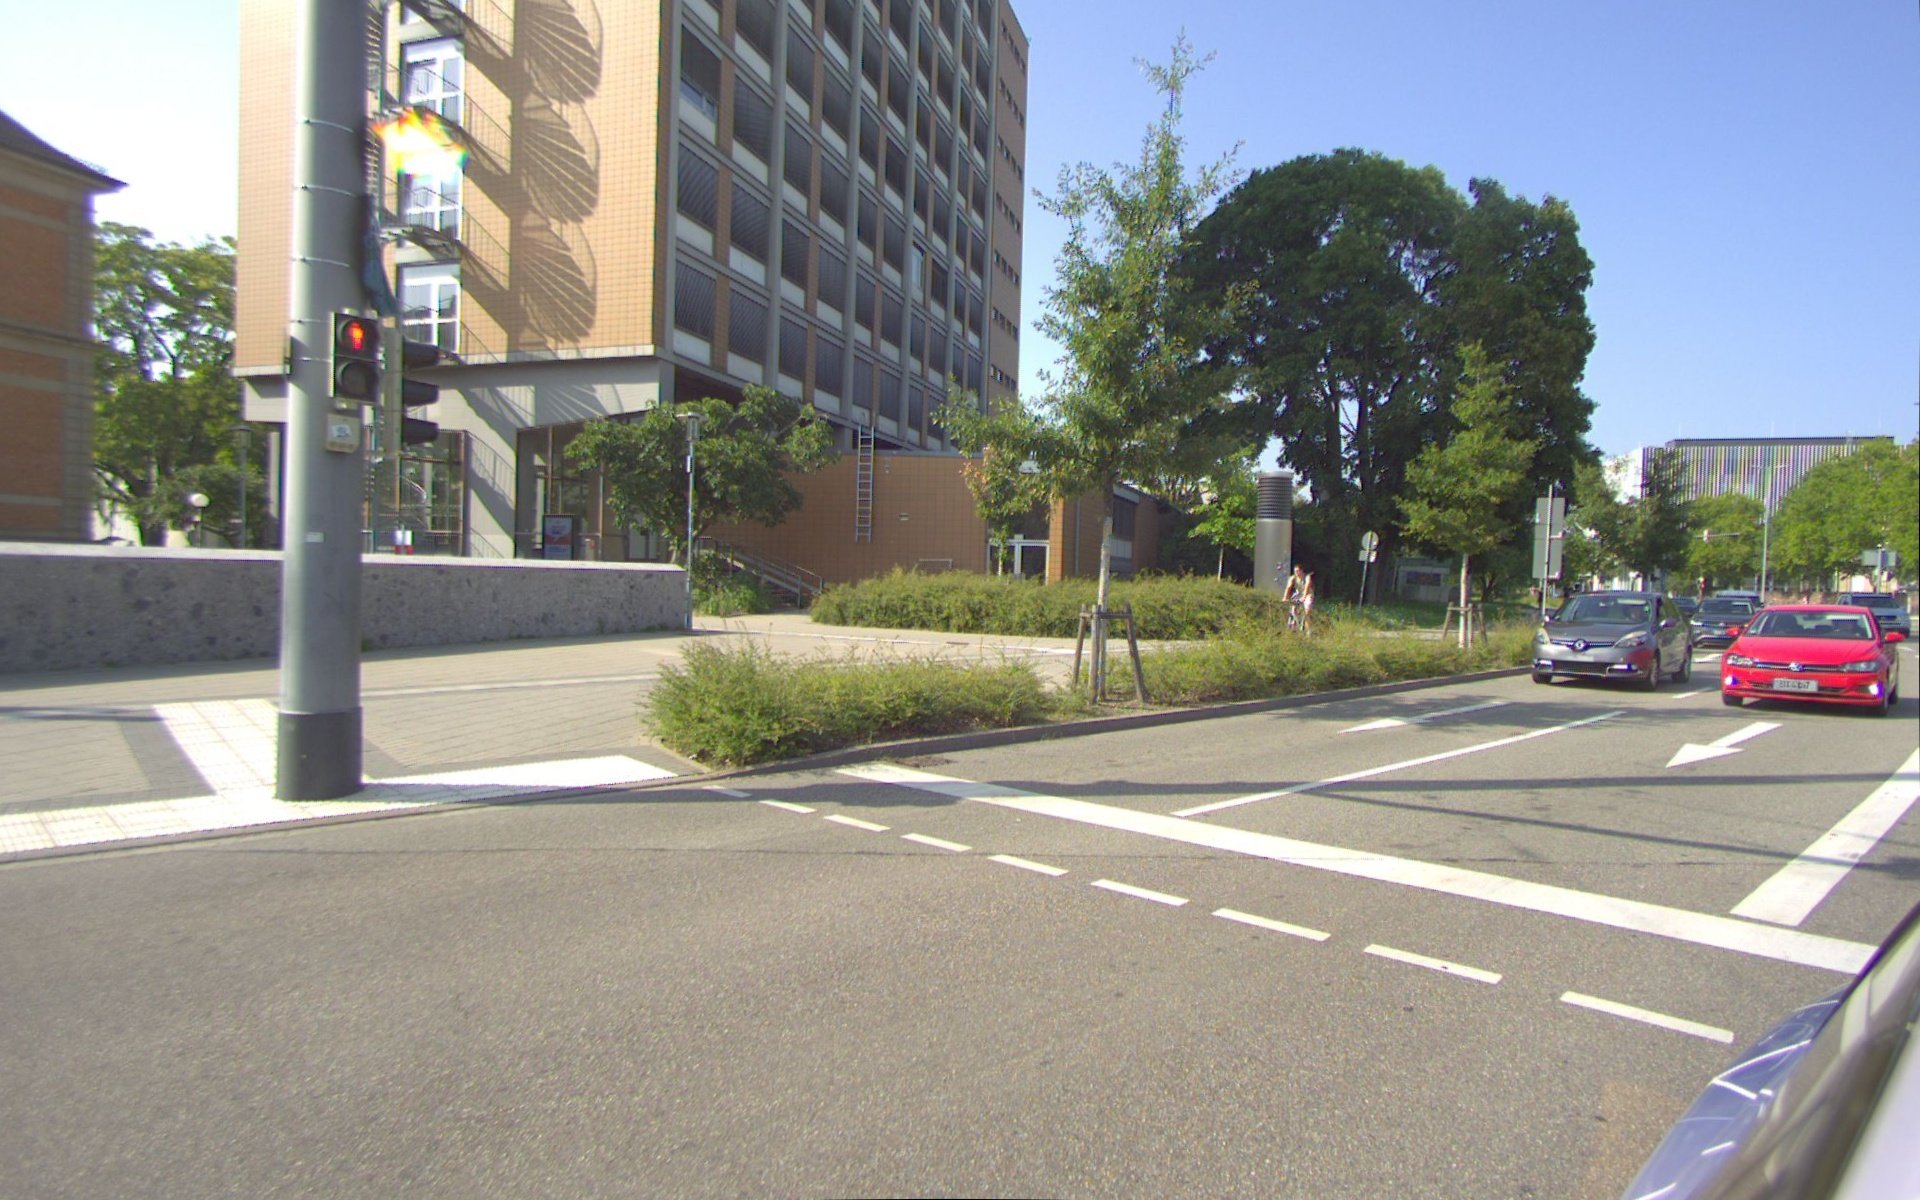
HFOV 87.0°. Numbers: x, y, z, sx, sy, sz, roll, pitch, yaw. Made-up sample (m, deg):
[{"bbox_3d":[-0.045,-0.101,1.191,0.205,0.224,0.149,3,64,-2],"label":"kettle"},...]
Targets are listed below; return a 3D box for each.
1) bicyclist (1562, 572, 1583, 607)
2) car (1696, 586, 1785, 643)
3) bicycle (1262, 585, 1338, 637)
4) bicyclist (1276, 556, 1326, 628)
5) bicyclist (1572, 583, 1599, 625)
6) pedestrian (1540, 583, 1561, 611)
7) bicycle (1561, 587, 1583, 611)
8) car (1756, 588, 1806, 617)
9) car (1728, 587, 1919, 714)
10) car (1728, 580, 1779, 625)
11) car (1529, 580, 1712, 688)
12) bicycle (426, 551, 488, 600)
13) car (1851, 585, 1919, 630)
[{"bbox_3d":[30.428,-0.519,50.281,0.769,1.697,0.912,2,1,36],"label":"bicyclist"},{"bbox_3d":[24.405,0.419,31.587,1.933,1.627,4.465,1,0,41],"label":"car"},{"bbox_3d":[7.879,0.240,23.419,0.771,1.131,2.267,2,1,43],"label":"bicycle"},{"bbox_3d":[7.898,-0.192,23.424,0.771,1.613,0.909,2,1,44],"label":"bicyclist"},{"bbox_3d":[23.472,0.131,37.996,0.718,1.531,0.990,2,2,39],"label":"bicyclist"},{"bbox_3d":[31.322,-0.180,53.673,0.725,1.461,0.843,2,2,45],"label":"pedestrian"},{"bbox_3d":[30.438,-0.060,50.315,0.769,1.131,2.274,2,1,35],"label":"bicycle"},{"bbox_3d":[51.065,0.107,63.036,1.674,1.674,4.326,2,2,30],"label":"car"},{"bbox_3d":[12.495,0.612,14.474,4.299,1.510,1.685,0,2,-43],"label":"car"},{"bbox_3d":[37.461,0.088,47.852,1.678,1.966,4.316,3,2,36],"label":"car"},{"bbox_3d":[11.606,0.519,17.651,4.349,1.626,1.779,1,1,-45],"label":"car"},{"bbox_3d":[-15.656,-0.764,31.551,0.601,1.450,1.804,2,1,20],"label":"bicycle"},{"bbox_3d":[37.978,0.343,41.513,1.774,1.742,4.471,-1,-1,37],"label":"car"}]
